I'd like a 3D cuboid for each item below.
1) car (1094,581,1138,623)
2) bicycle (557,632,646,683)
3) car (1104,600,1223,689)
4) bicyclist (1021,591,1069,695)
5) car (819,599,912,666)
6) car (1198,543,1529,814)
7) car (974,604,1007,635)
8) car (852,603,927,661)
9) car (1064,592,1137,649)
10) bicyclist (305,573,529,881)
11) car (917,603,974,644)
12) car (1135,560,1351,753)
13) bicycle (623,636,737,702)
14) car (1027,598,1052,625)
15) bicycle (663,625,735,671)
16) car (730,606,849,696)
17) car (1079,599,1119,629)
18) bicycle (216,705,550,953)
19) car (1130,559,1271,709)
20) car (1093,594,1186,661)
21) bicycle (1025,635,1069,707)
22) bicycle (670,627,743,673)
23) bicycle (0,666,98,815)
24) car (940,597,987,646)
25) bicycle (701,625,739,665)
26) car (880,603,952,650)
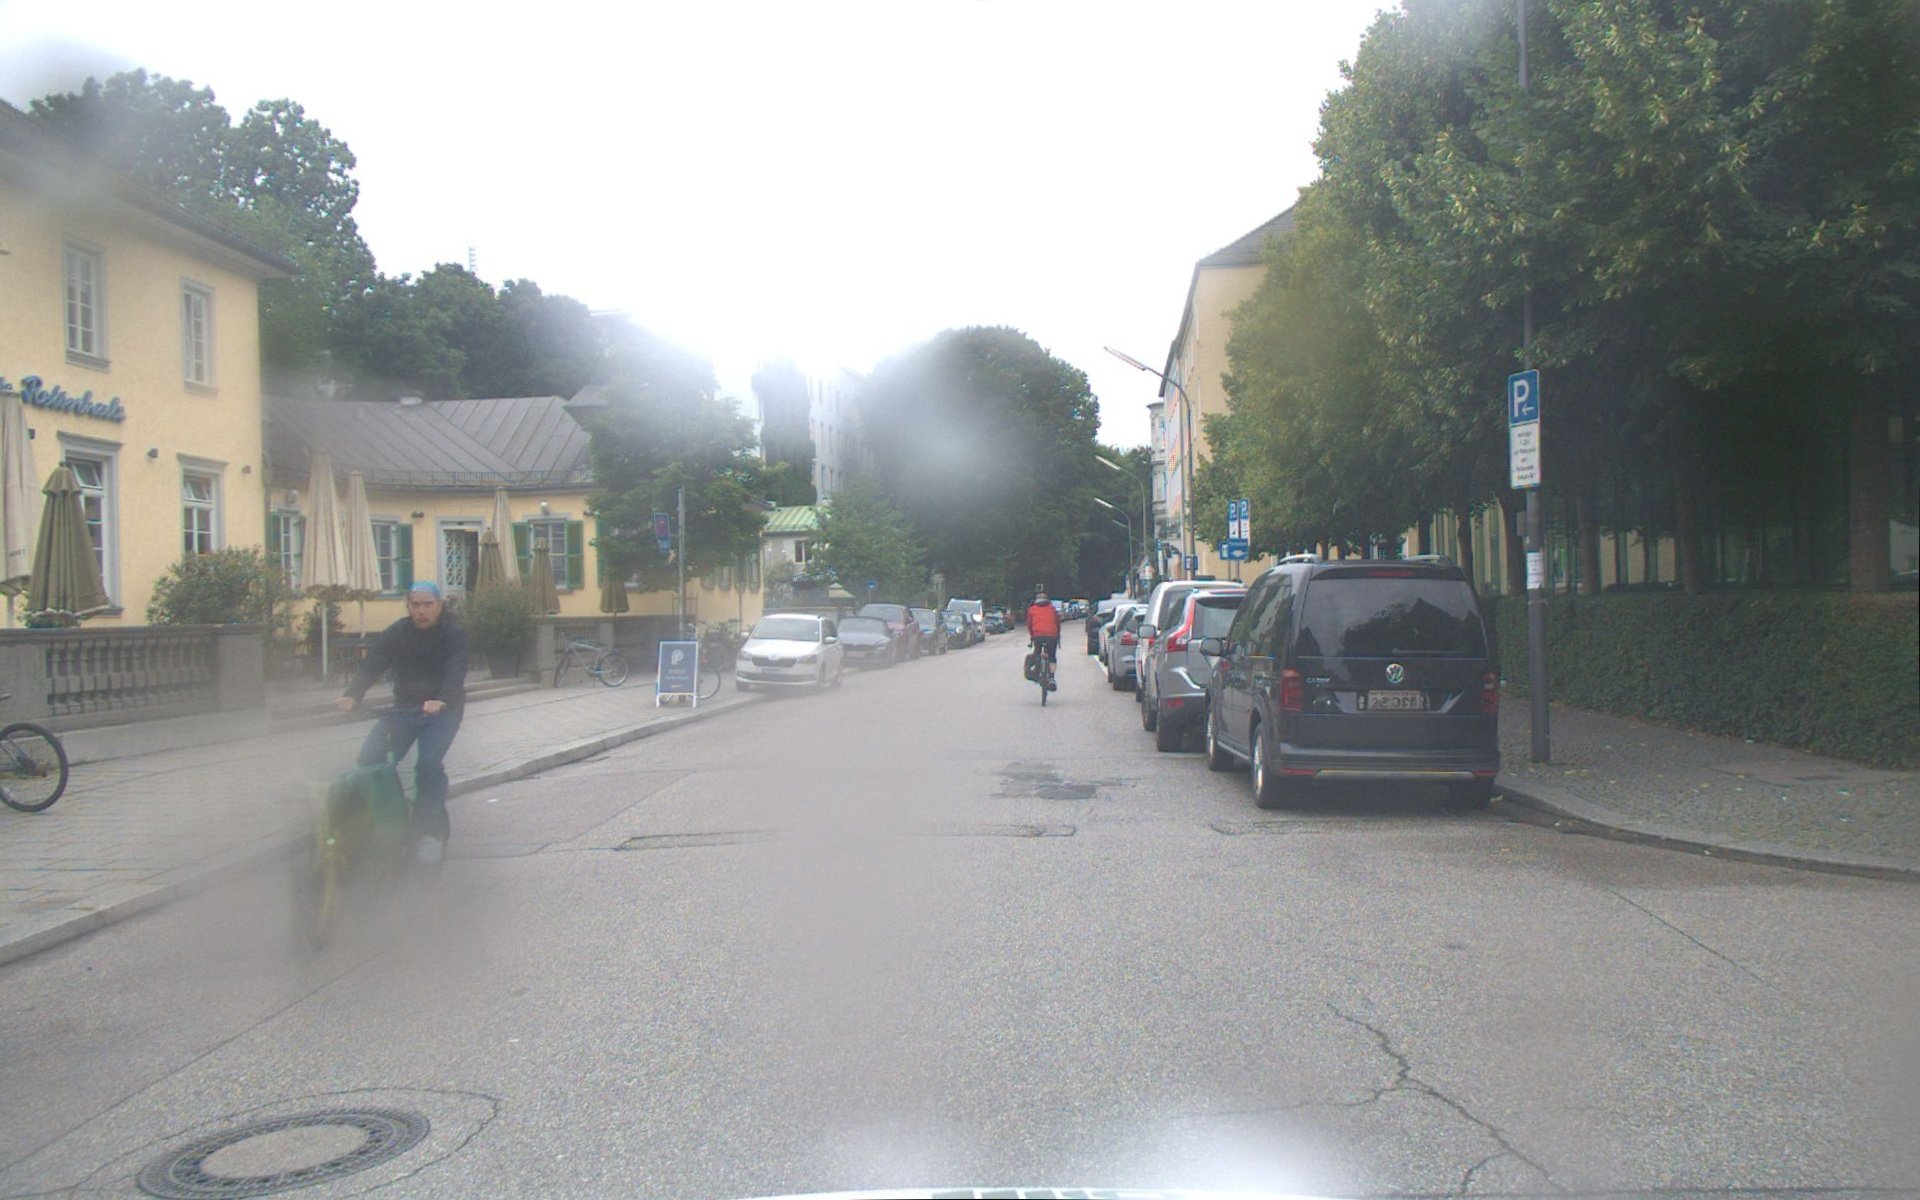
[{"bbox_3d":[8.197,0.111,87.172,1.952,2.096,4.624,-1,0,1],"label":"car"},{"bbox_3d":[-7.012,1.120,32.366,1.592,0.942,0.646,-1,-2,-24],"label":"bicycle"},{"bbox_3d":[3.628,0.750,30.076,1.824,1.465,4.257,-1,0,3],"label":"car"},{"bbox_3d":[1.293,0.651,25.131,0.657,1.524,1.095,-2,-2,3],"label":"bicyclist"},{"bbox_3d":[-2.508,0.830,45.088,1.952,1.677,4.657,-2,0,3],"label":"car"},{"bbox_3d":[3.090,0.538,13.517,1.724,1.855,4.139,-1,0,1],"label":"car"},{"bbox_3d":[1.859,1.157,99.327,1.772,1.712,4.002,-2,0,3],"label":"car"},{"bbox_3d":[-2.091,0.968,50.158,1.952,1.631,4.001,-1,-1,2],"label":"car"},{"bbox_3d":[4.287,0.605,51.007,1.952,1.646,4.001,-1,0,1],"label":"car"},{"bbox_3d":[-2.986,0.666,9.176,0.727,1.603,0.978,-2,0,14],"label":"bicyclist"},{"bbox_3d":[-0.566,0.944,68.005,1.951,1.512,4.002,-2,0,5],"label":"car"},{"bbox_3d":[2.984,0.545,18.343,1.824,1.825,4.511,-2,0,3],"label":"car"},{"bbox_3d":[-4.718,1.149,28.005,0.610,1.022,2.133,1,0,33],"label":"bicycle"},{"bbox_3d":[6.596,0.936,136.982,1.952,2.135,4.002,1,0,3],"label":"car"},{"bbox_3d":[-6.376,1.174,40.377,1.600,1.022,0.616,-2,-1,-35],"label":"bicycle"},{"bbox_3d":[-3.285,0.954,32.504,1.697,1.609,3.789,1,0,4],"label":"car"},{"bbox_3d":[7.797,0.770,92.814,1.952,1.579,4.001,-1,0,1],"label":"car"},{"bbox_3d":[-3.034,1.164,8.977,0.608,1.022,2.142,-2,0,14],"label":"bicycle"},{"bbox_3d":[3.477,0.452,24.545,1.713,1.977,4.230,-2,0,4],"label":"car"},{"bbox_3d":[4.459,0.661,41.582,1.952,1.579,4.001,-1,0,1],"label":"car"},{"bbox_3d":[1.320,1.054,25.050,0.608,1.022,2.141,-2,-2,3],"label":"bicycle"},{"bbox_3d":[-5.992,1.188,39.106,1.592,1.022,0.619,-1,-2,-24],"label":"bicycle"},{"bbox_3d":[-7.950,1.098,13.144,1.890,1.118,0.615,0,0,3],"label":"bicycle"},{"bbox_3d":[0.184,0.977,76.581,1.952,2.116,4.002,-2,0,3],"label":"car"},{"bbox_3d":[-6.408,1.197,44.260,0.608,1.022,1.620,-1,-1,6],"label":"bicycle"},{"bbox_3d":[-1.483,0.872,57.137,1.951,1.512,4.003,1,0,7],"label":"car"}]
